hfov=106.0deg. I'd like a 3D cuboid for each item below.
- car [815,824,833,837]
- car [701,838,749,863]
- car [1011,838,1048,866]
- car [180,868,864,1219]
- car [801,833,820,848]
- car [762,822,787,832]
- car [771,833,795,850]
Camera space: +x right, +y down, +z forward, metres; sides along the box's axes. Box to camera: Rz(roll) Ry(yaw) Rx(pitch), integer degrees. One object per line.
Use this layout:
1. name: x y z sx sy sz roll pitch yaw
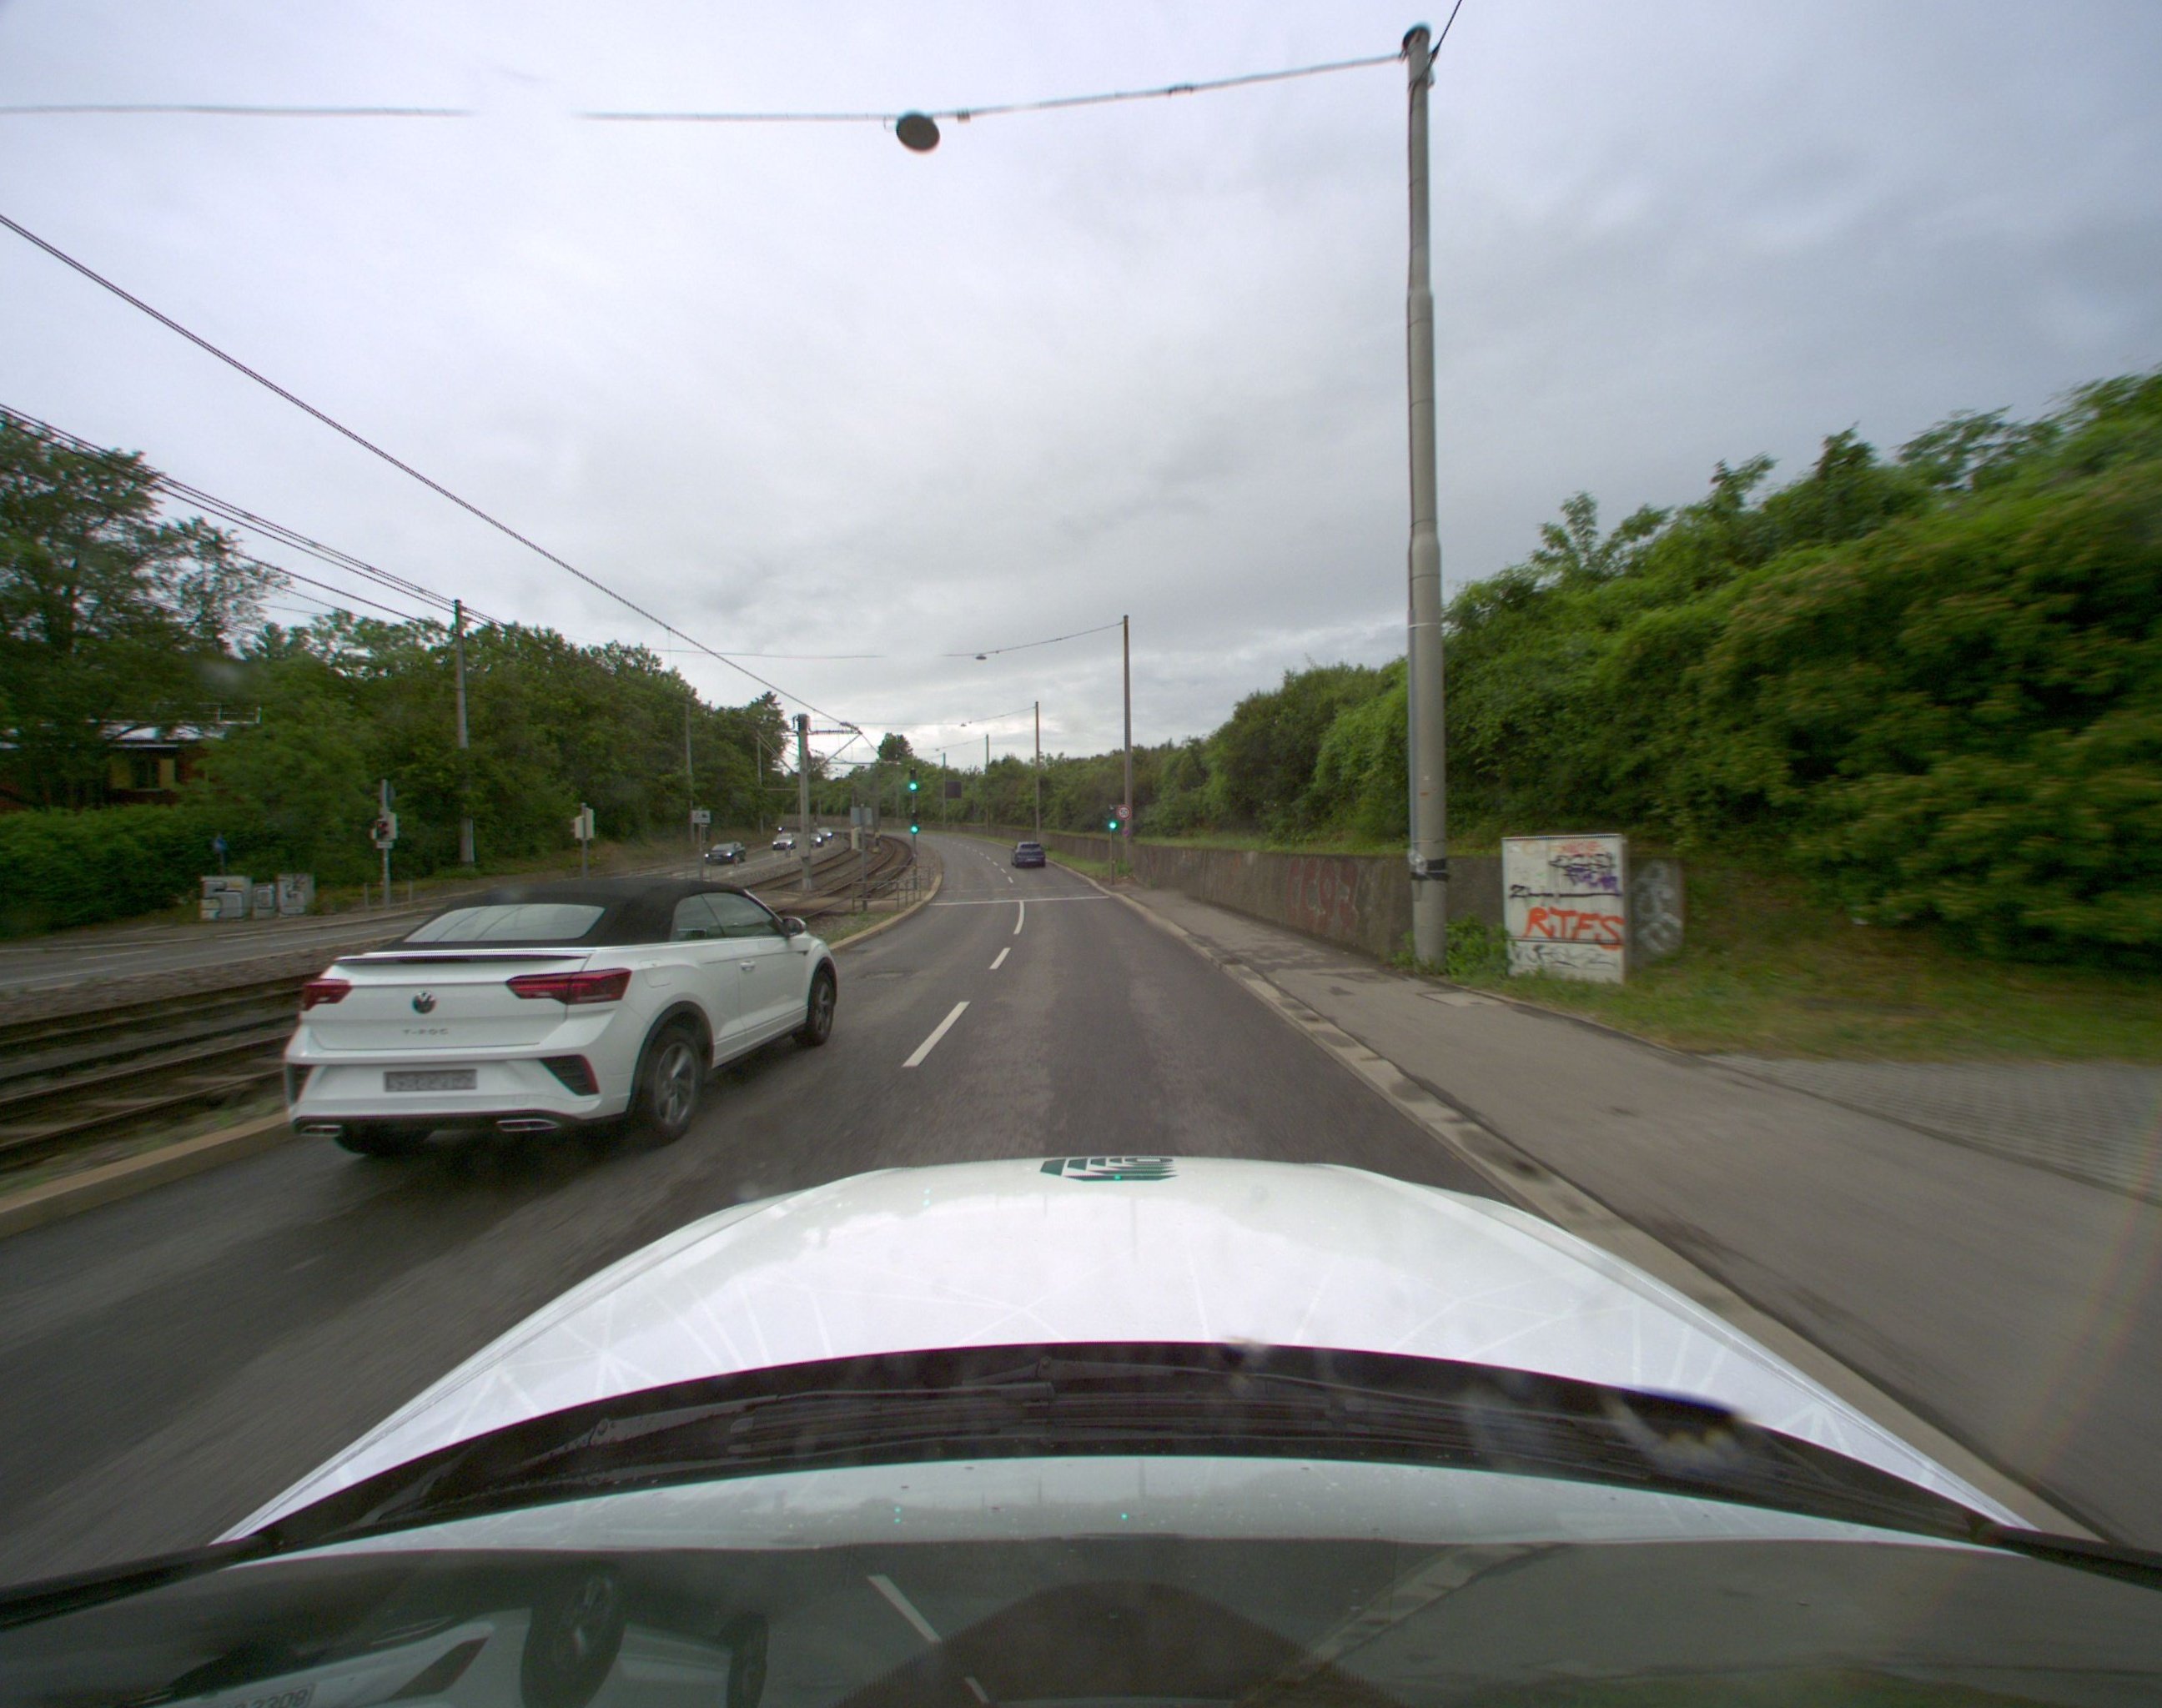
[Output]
1. car: -31.889 -2.901 101.068 1.867 1.438 4.825 -4 4 -19
2. car: -23.913 -0.260 54.809 1.714 1.458 4.266 -3 2 -7
3. car: -3.054 -0.179 47.780 1.763 1.501 3.988 0 2 -9
4. car: -3.193 0.911 6.041 1.865 1.524 4.540 -2 -1 0
5. car: -26.315 -1.337 79.203 1.637 1.384 3.871 -4 3 -18
6. car: -51.484 -4.487 136.746 4.679 1.669 1.801 1 4 40
7. car: -28.296 -1.241 77.336 1.824 1.379 4.679 -3 3 -17
